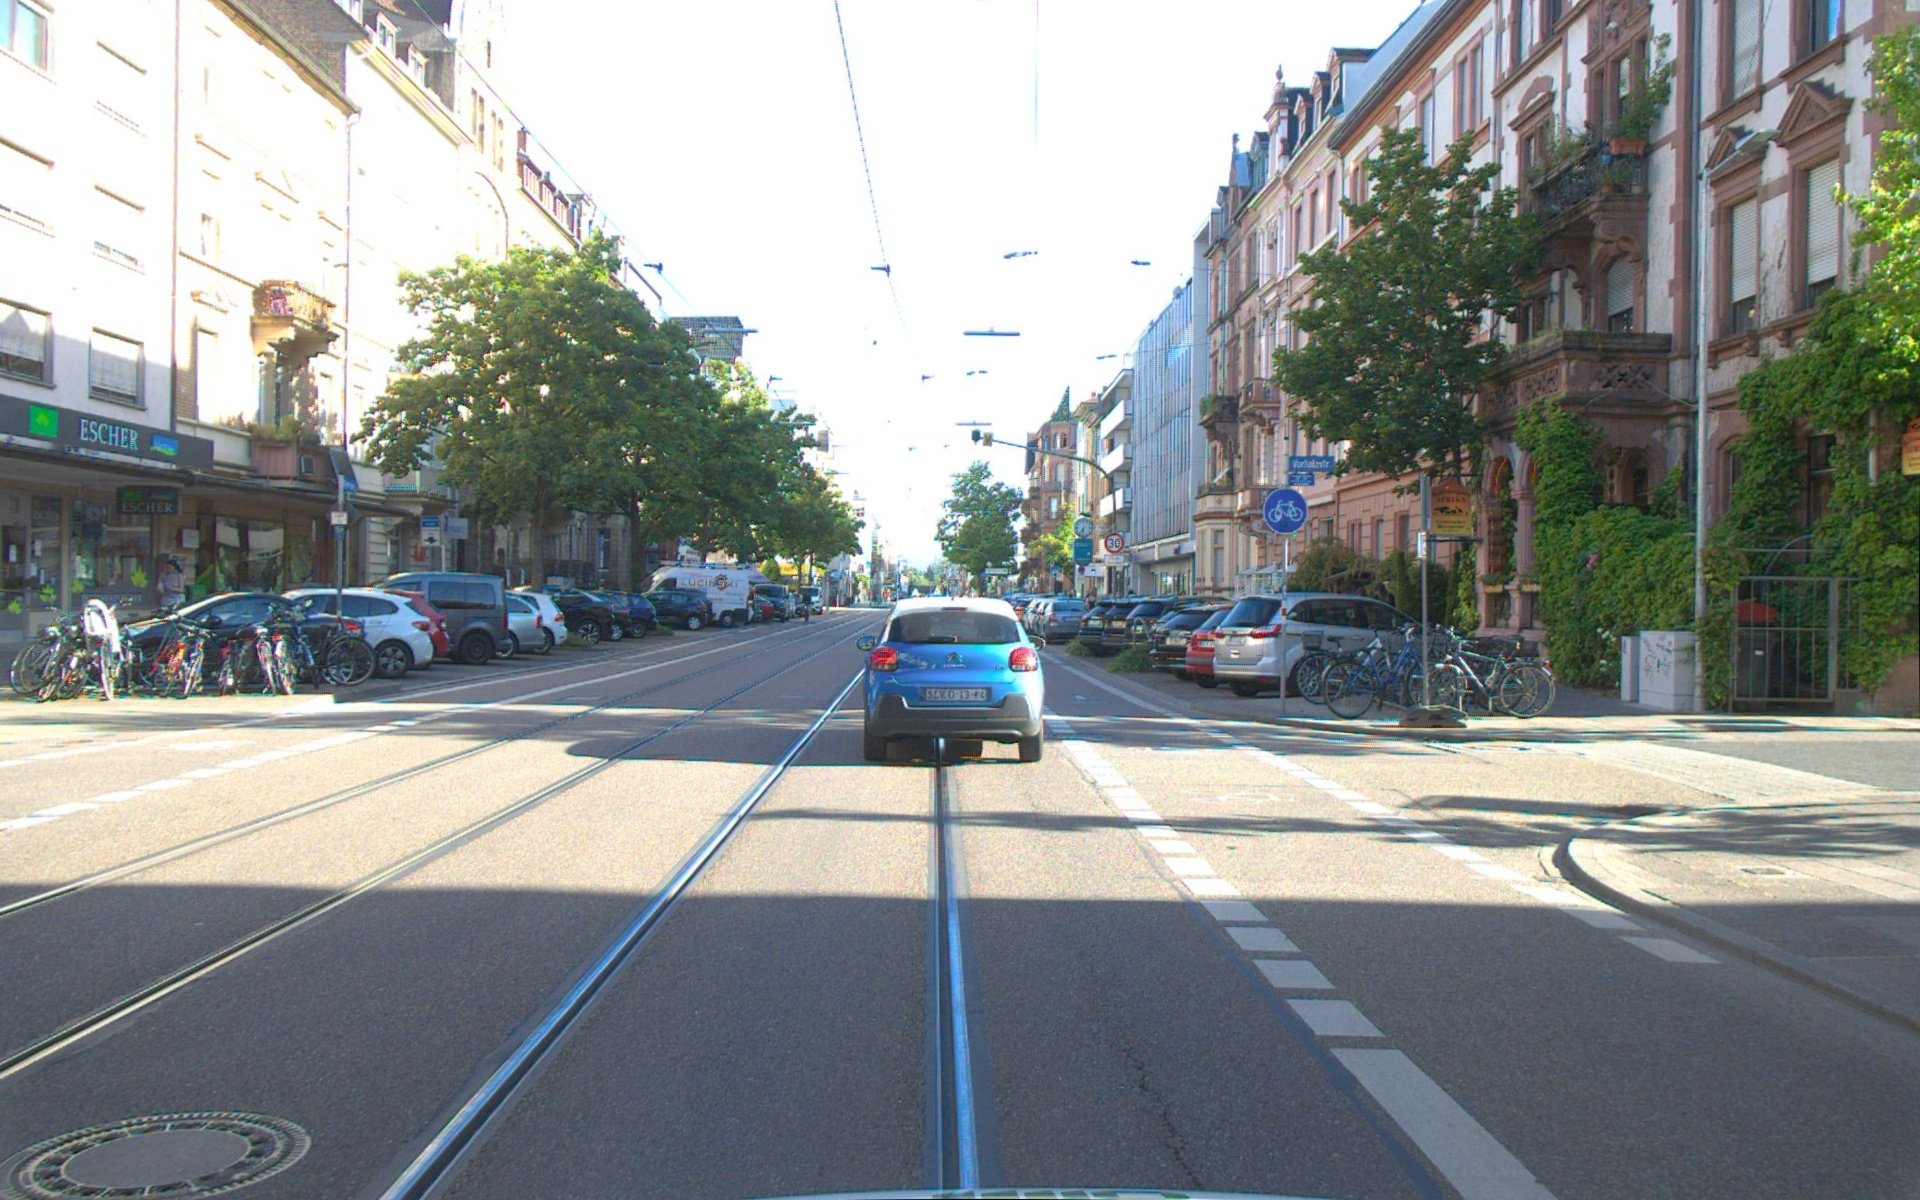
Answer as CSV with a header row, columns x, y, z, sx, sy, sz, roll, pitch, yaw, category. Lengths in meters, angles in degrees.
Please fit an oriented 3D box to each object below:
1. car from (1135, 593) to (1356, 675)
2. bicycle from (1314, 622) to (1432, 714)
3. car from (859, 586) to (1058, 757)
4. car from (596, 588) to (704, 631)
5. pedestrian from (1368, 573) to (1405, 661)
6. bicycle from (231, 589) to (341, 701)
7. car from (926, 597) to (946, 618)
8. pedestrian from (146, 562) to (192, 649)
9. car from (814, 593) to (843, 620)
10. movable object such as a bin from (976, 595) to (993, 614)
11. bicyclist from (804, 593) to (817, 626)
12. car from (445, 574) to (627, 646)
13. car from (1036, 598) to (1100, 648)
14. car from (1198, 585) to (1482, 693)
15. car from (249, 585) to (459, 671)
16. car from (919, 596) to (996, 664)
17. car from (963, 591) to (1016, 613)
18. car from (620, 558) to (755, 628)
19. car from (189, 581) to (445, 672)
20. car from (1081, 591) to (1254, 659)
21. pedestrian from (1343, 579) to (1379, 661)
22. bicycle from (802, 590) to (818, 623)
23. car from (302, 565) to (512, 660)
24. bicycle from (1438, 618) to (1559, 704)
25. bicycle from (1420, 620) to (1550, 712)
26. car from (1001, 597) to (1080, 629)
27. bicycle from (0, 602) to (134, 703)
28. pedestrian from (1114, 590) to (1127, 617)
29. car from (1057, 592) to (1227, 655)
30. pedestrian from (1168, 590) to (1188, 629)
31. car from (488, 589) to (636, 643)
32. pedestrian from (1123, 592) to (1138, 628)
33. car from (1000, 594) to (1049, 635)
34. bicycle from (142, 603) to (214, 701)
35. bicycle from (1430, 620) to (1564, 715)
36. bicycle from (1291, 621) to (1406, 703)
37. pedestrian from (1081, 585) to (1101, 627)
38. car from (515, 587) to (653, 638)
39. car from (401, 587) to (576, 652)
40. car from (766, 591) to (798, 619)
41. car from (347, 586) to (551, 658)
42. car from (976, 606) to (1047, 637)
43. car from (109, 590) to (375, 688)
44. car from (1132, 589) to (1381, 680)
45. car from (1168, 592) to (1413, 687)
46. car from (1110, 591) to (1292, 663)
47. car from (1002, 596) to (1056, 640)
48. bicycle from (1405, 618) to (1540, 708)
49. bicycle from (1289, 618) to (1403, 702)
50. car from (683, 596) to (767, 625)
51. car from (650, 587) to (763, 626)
x,y,z,sx,sy,sz,roll,pitch,yaw,category
6.084,0.728,35.219,4.264,1.624,2.029,2,0,-26,car
5.328,0.875,21.332,1.374,1.147,0.549,2,-1,-16,bicycle
-0.047,0.638,16.380,1.726,1.466,3.556,1,0,-1,car
-12.046,0.369,64.296,3.924,1.515,1.797,2,0,-18,car
8.961,0.351,34.772,0.507,1.809,0.863,1,0,-1,pedestrian
-9.114,0.571,22.470,0.668,1.342,2.434,1,2,-5,bicycle
-1.691,0.523,117.359,1.394,1.457,3.138,1,0,-1,car
-15.640,0.104,32.723,0.557,1.681,0.641,1,-1,-1,pedestrian
-9.500,0.447,119.527,1.794,1.880,4.213,1,0,-1,car
2.015,0.400,135.839,1.366,1.509,1.655,1,0,-1,movable object such as a bin
-7.844,0.483,86.747,0.621,1.711,0.726,1,-1,-1,bicyclist
-11.350,0.274,44.324,4.313,1.814,1.973,2,0,-34,car
3.691,0.773,57.422,1.835,1.624,4.718,1,0,-1,car
6.171,0.636,26.822,4.297,1.624,1.838,2,0,-26,car
-11.181,0.503,30.558,3.423,1.499,1.632,1,0,-30,car
-0.079,0.741,42.442,1.835,1.624,3.999,1,0,-1,car
2.255,0.118,125.419,3.600,1.561,1.778,2,0,-21,car
-11.476,-0.278,69.890,5.316,2.797,1.787,2,-1,-31,car
-10.826,0.455,27.924,3.746,1.424,1.734,2,0,-34,car
5.348,0.647,42.700,3.937,1.624,2.071,2,0,-26,car
8.417,0.417,34.758,0.507,1.677,0.863,1,0,-1,pedestrian
-7.850,0.353,86.651,0.666,1.708,2.096,1,0,-1,bicycle
-11.209,0.268,33.561,3.769,1.816,1.780,2,0,-29,car
7.599,0.852,23.387,1.523,1.147,0.552,1,0,5,bicycle
6.866,0.856,21.666,1.523,1.147,0.528,1,0,5,bicycle
4.183,0.693,86.235,3.685,1.547,1.945,2,0,-34,car
-11.519,0.645,21.285,2.390,1.128,0.680,3,3,40,bicycle
9.477,0.212,97.489,0.678,1.615,0.678,1,-1,-1,pedestrian
5.013,0.648,45.512,4.249,1.624,1.966,2,0,-26,car
9.245,0.397,70.053,0.697,1.635,0.654,1,-1,-2,pedestrian
-11.980,0.479,49.828,3.951,1.515,1.785,2,0,-34,car
8.719,0.508,84.609,0.678,1.786,0.678,1,-1,-1,pedestrian
2.653,0.596,68.787,1.835,1.624,3.999,1,0,-1,car
-10.402,0.664,21.968,0.675,1.143,1.868,0,2,-31,bicycle
6.831,0.848,21.074,1.523,1.147,0.552,1,0,5,bicycle
5.434,0.866,23.186,1.523,1.098,0.307,1,-1,5,bicycle
5.209,0.232,65.600,0.697,1.635,0.654,1,-1,-2,pedestrian
-11.998,0.390,52.790,3.943,1.515,1.789,2,0,-29,car
-11.334,0.482,39.796,3.786,1.455,1.751,2,0,-27,car
-10.748,0.305,100.064,1.713,1.646,4.407,1,0,-4,car
-11.223,0.499,36.385,3.970,1.475,1.680,2,0,-34,car
2.774,1.160,88.561,3.409,1.582,1.804,2,0,-33,car
-10.809,0.587,24.970,3.431,1.361,1.605,2,0,-35,car
5.752,0.665,32.034,4.379,1.624,2.072,2,0,-26,car
5.879,0.700,29.427,3.937,1.563,1.903,2,0,-26,car
5.812,0.649,39.872,3.937,1.624,1.943,2,0,-26,car
2.651,0.685,64.285,1.835,1.624,3.999,1,0,-1,car
6.891,0.839,22.290,1.639,1.147,0.552,1,0,5,bicycle
5.480,0.845,23.519,1.527,1.147,0.295,1,-1,5,bicycle
-11.385,0.512,80.139,3.751,1.287,1.503,2,0,-27,car
-11.348,0.296,74.174,4.712,1.646,1.693,2,0,-34,car
